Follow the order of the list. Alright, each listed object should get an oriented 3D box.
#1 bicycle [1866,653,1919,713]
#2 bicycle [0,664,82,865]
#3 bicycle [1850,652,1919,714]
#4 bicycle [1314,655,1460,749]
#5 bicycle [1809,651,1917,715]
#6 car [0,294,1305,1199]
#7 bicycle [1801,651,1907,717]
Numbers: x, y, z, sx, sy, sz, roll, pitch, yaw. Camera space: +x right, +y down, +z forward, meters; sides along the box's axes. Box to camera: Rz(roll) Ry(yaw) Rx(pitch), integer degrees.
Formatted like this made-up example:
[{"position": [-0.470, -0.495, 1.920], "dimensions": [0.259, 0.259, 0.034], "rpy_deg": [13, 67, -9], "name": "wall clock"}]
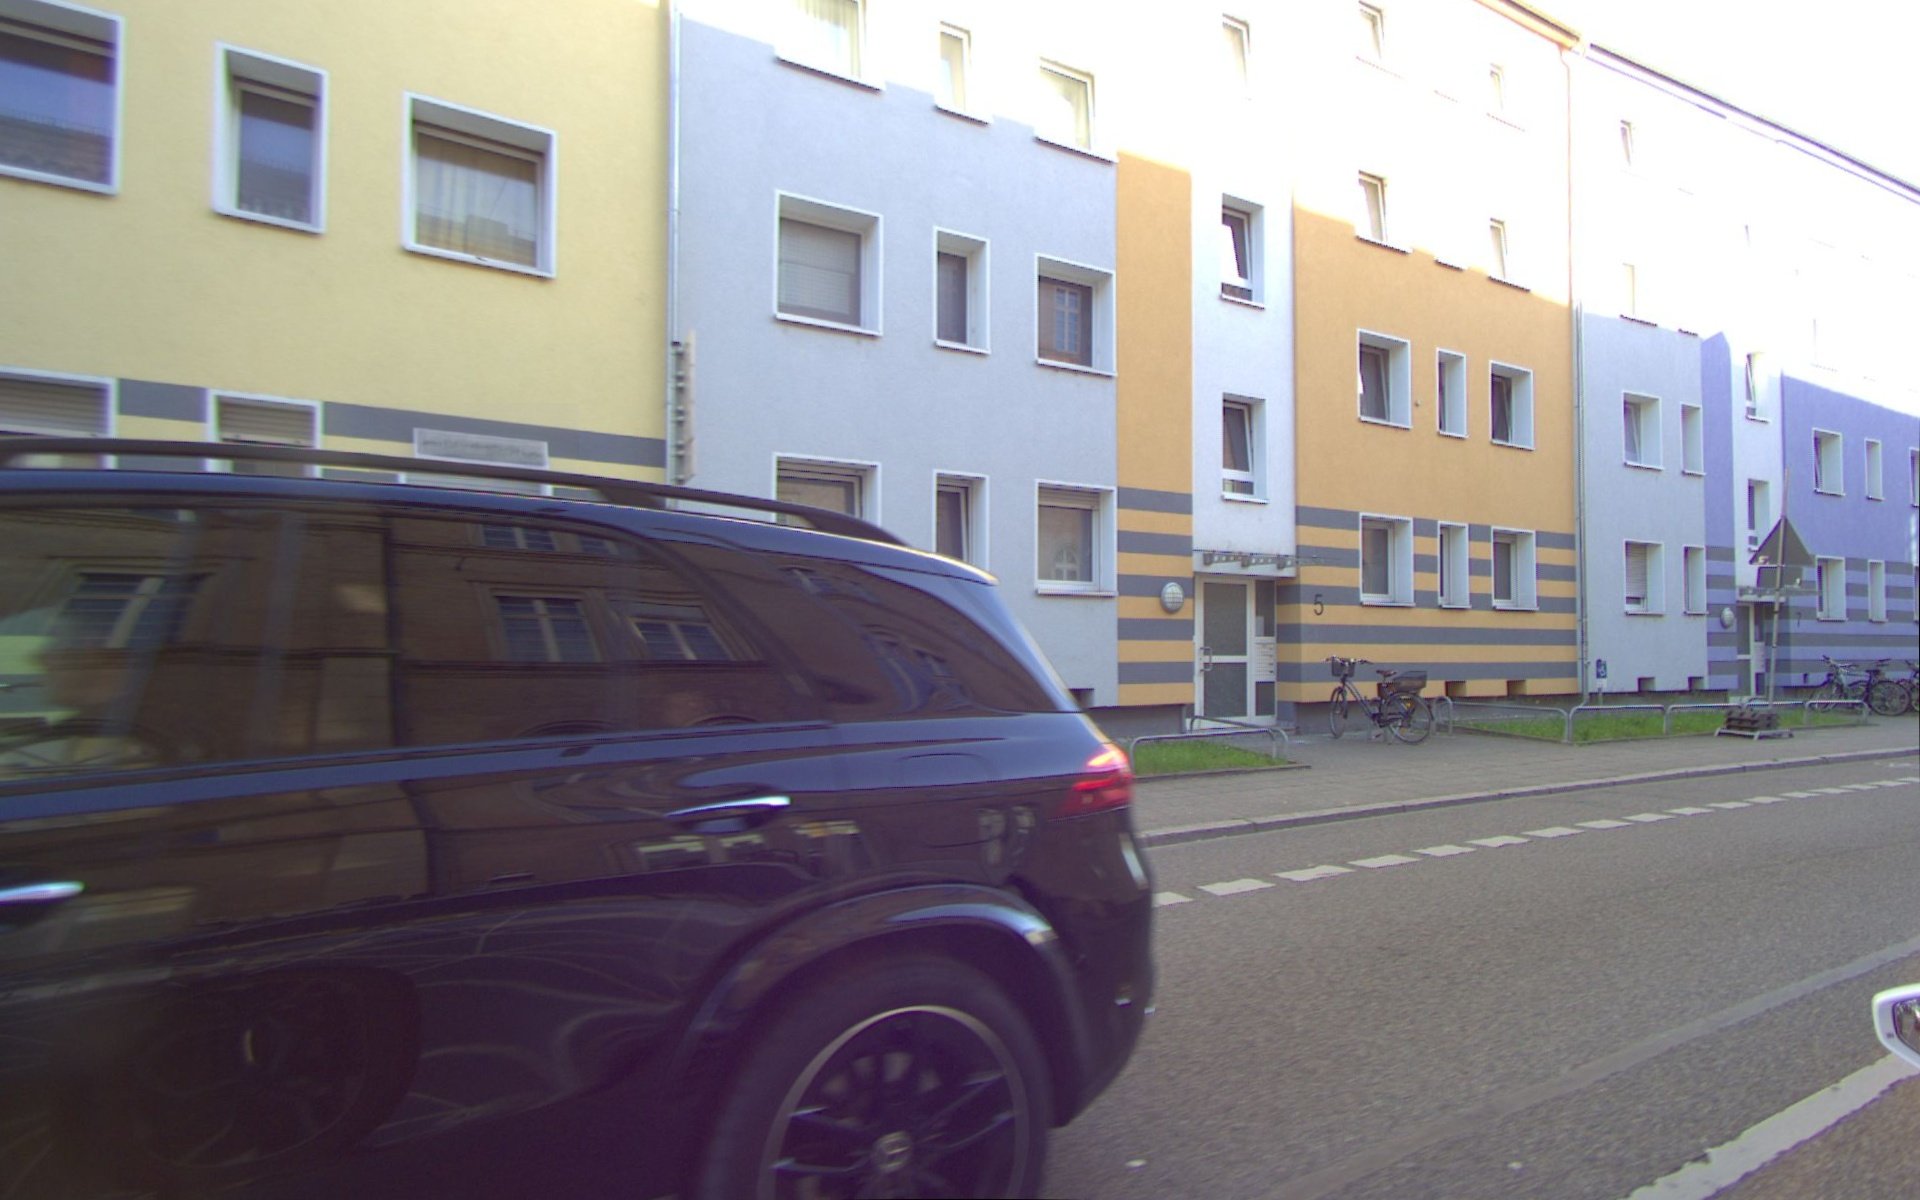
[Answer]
[{"position": [20.511, 1.755, 21.185], "dimensions": [0.615, 1.247, 2.000], "rpy_deg": [1, -2, -29], "name": "bicycle"}, {"position": [-6.336, 1.022, 6.624], "dimensions": [0.645, 1.160, 1.739], "rpy_deg": [2, -3, -36], "name": "bicycle"}, {"position": [19.789, 1.725, 21.039], "dimensions": [0.461, 1.258, 1.632], "rpy_deg": [1, -2, -29], "name": "bicycle"}, {"position": [5.770, 1.347, 13.656], "dimensions": [0.645, 1.160, 1.739], "rpy_deg": [2, -3, -36], "name": "bicycle"}, {"position": [18.573, 1.681, 20.700], "dimensions": [0.444, 1.258, 1.578], "rpy_deg": [1, -2, -29], "name": "bicycle"}, {"position": [-1.753, 0.570, 2.155], "dimensions": [5.036, 1.858, 1.891], "rpy_deg": [2, -4, -31], "name": "car"}, {"position": [18.215, 1.687, 20.495], "dimensions": [0.379, 1.258, 1.573], "rpy_deg": [1, -2, -29], "name": "bicycle"}]
